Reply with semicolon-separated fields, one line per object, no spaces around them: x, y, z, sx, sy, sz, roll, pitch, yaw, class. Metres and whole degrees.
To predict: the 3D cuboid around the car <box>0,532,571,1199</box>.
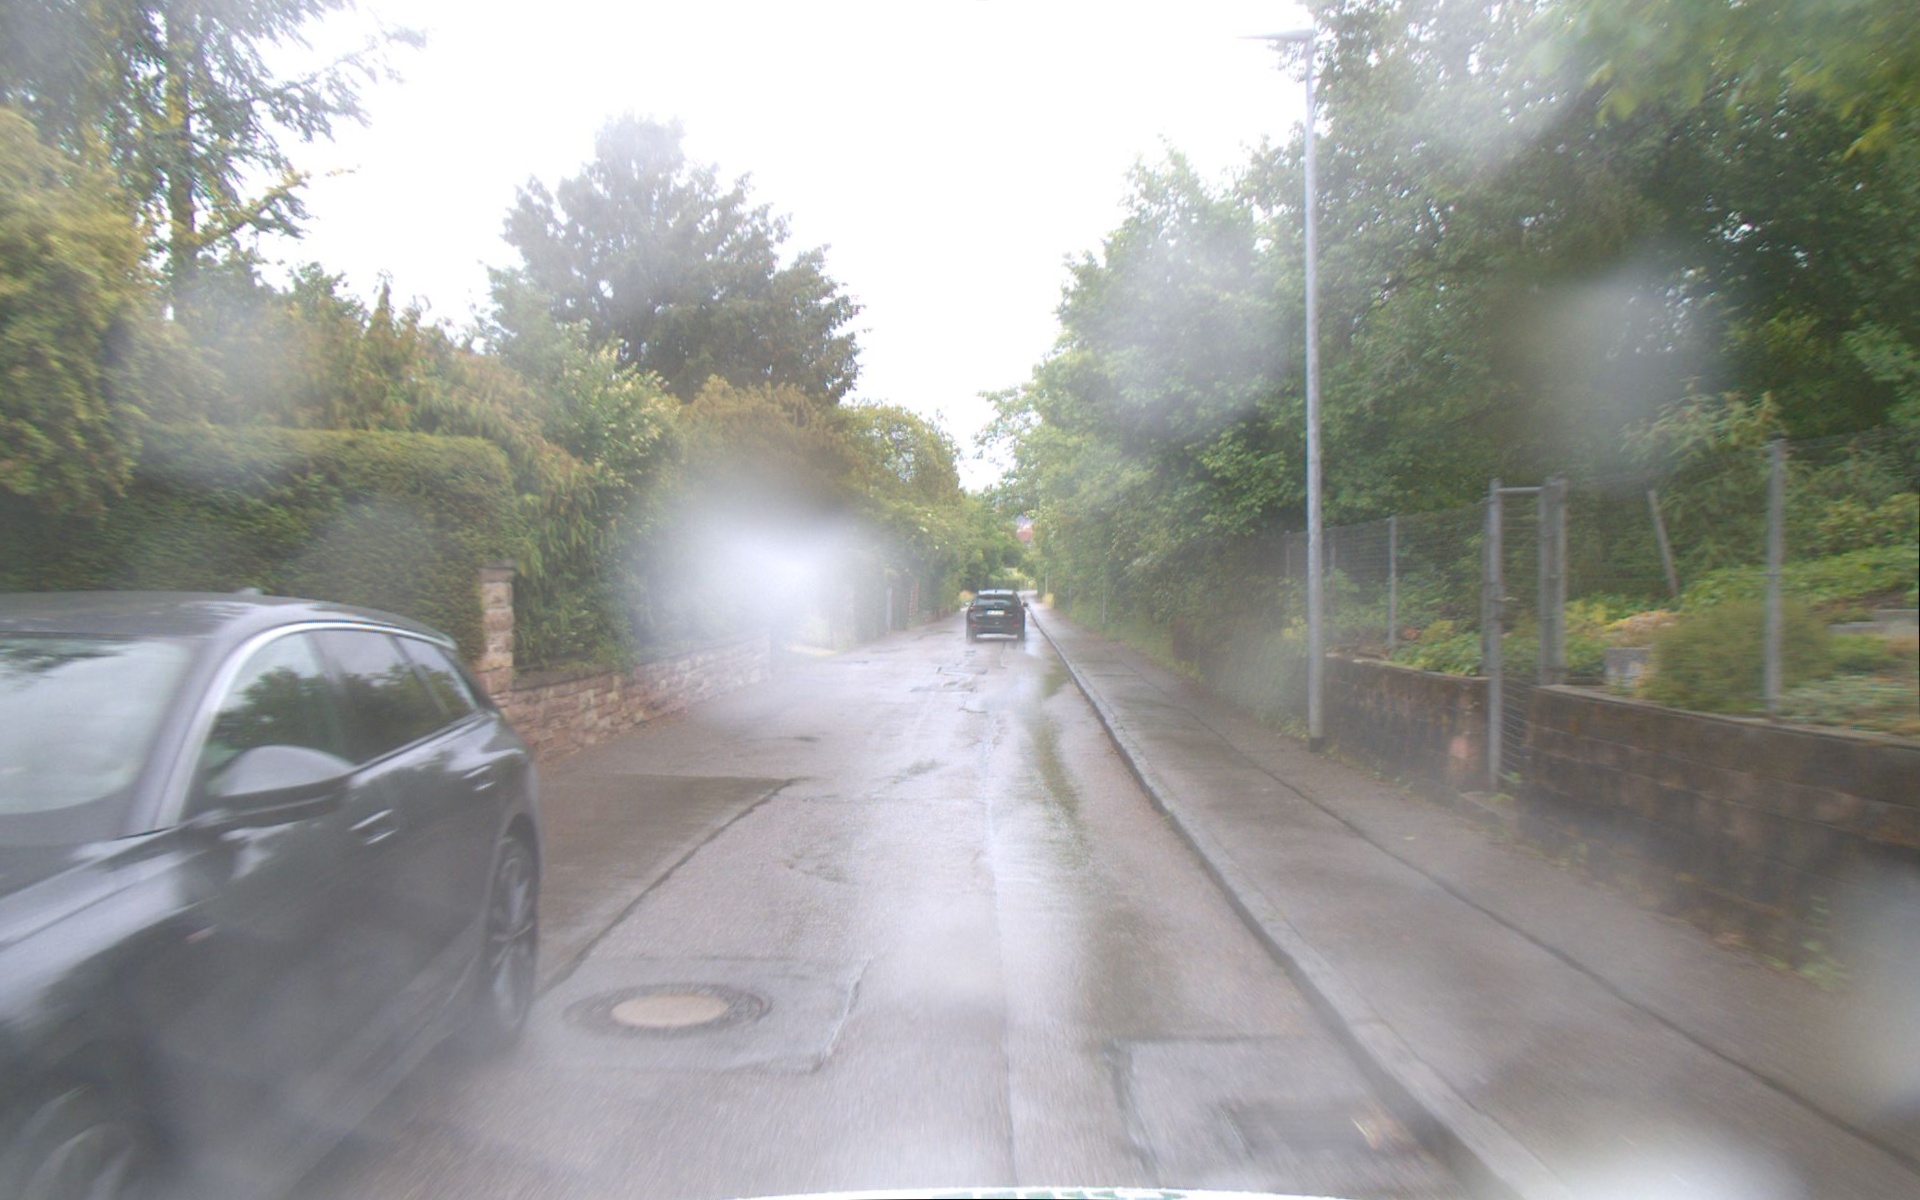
-2.297;0.698;3.881;1.850;1.550;4.419;0;-1;-2;car

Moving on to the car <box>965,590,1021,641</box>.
1.015;0.489;49.724;1.600;1.476;3.545;0;-1;2;car

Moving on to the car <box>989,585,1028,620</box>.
2.125;0.137;71.691;1.600;1.439;3.546;0;-1;3;car
